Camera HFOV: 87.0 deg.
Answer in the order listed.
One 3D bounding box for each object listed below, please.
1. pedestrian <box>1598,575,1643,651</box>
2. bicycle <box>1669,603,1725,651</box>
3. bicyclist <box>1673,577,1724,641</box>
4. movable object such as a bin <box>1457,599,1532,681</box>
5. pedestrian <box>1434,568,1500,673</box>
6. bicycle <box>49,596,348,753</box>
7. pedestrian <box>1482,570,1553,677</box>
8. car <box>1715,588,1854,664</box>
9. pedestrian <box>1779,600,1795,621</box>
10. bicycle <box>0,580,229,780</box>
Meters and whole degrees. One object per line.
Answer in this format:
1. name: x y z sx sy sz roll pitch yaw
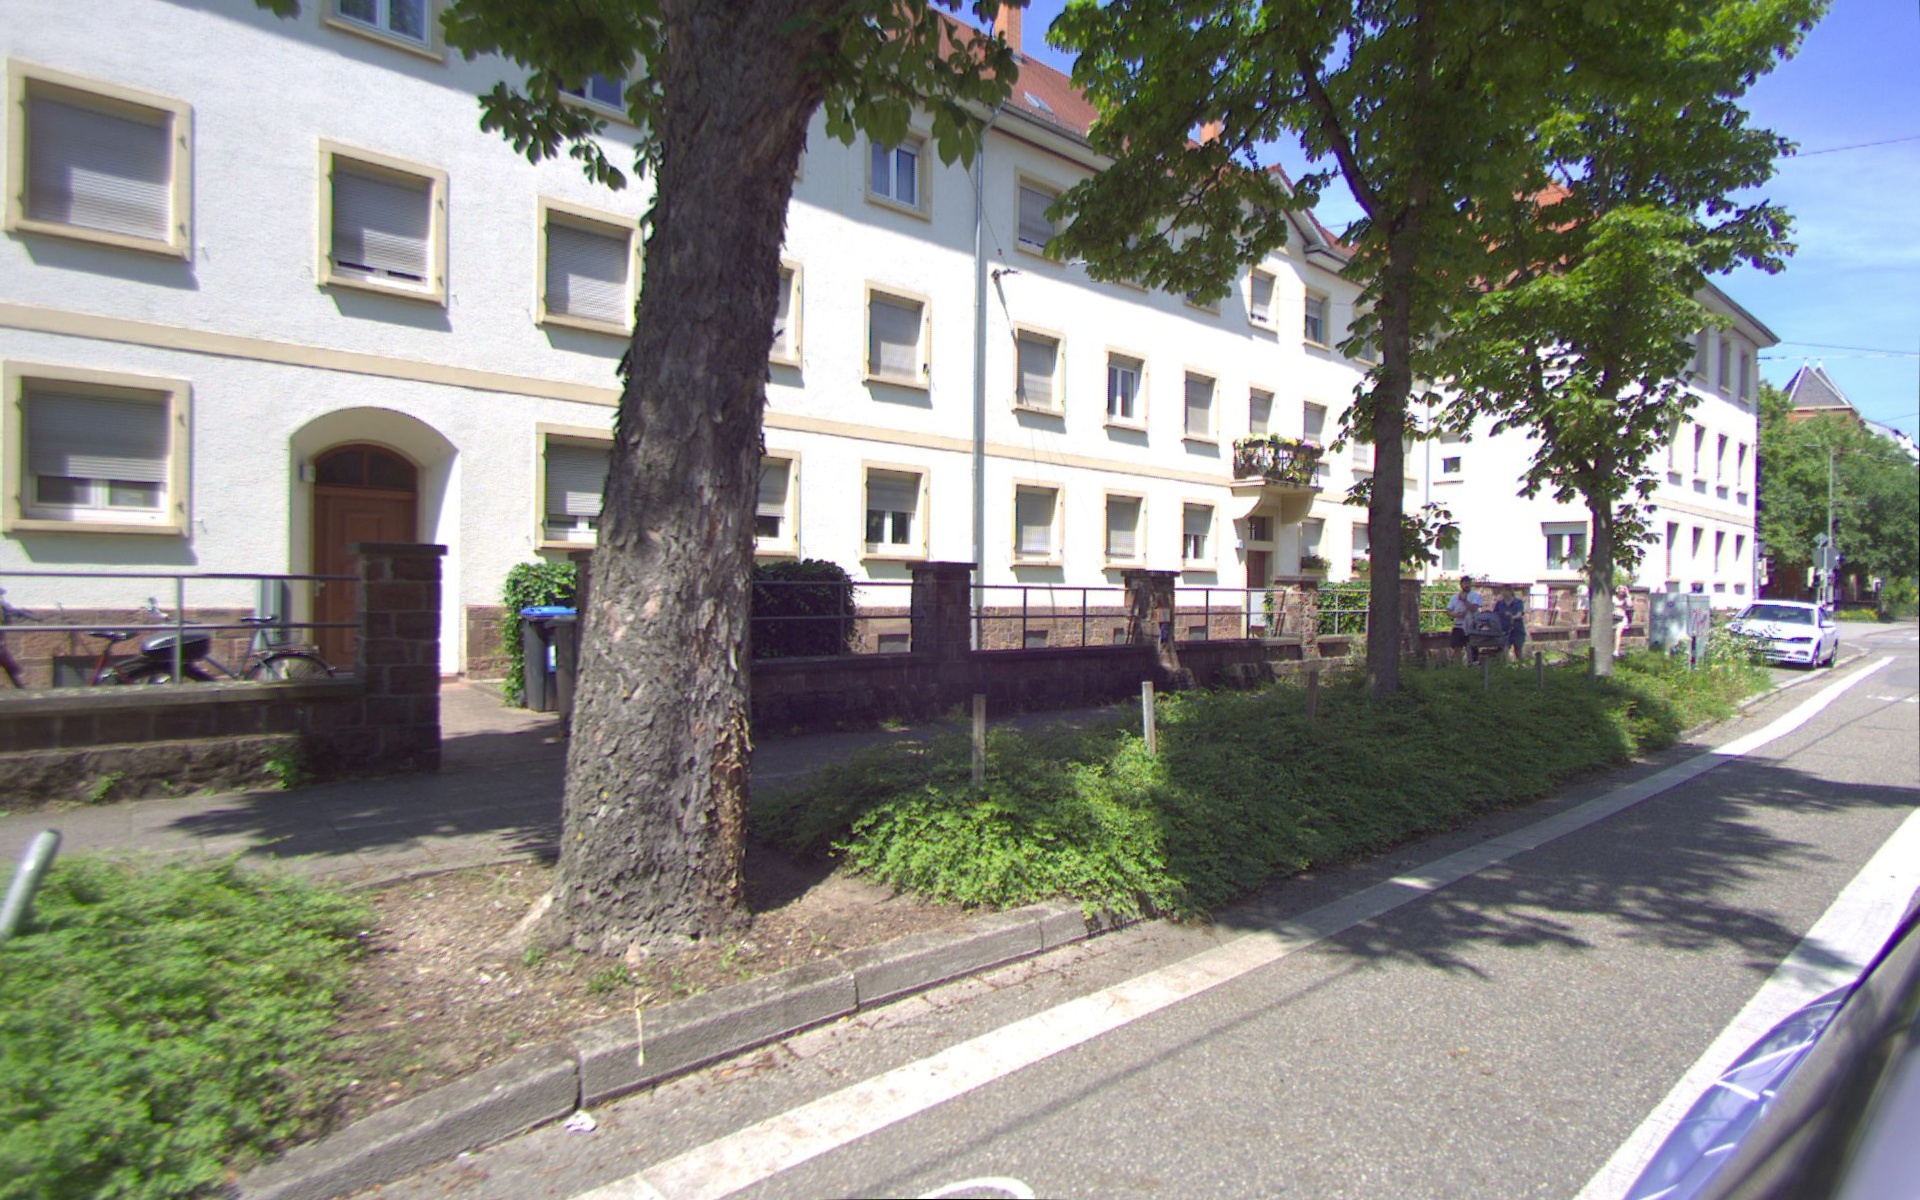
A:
1. pedestrian: 15.088 0.280 23.116 0.743 1.690 0.698 0 1 -42
2. bicycle: 17.232 0.605 23.659 1.790 1.064 0.603 0 1 -39
3. bicyclist: 17.326 0.196 23.737 0.992 1.470 0.713 0 1 -39
4. movable object such as a bin: 8.511 0.613 16.110 1.018 1.200 0.699 0 4 -42
5. pedestrian: 8.530 0.327 17.030 0.743 1.690 0.699 0 3 -42
6. bicycle: -6.280 0.558 8.444 1.934 1.139 0.598 0 4 -40
7. pedestrian: 9.219 0.368 16.732 0.854 1.690 0.699 0 3 -42
8. car: 18.853 0.526 23.088 4.085 1.427 1.781 0 6 -42
9. pedestrian: 47.094 0.590 57.620 0.647 1.164 0.635 1 0 34
10. bicycle: -6.046 0.499 6.670 1.935 1.224 0.598 0 3 -41
